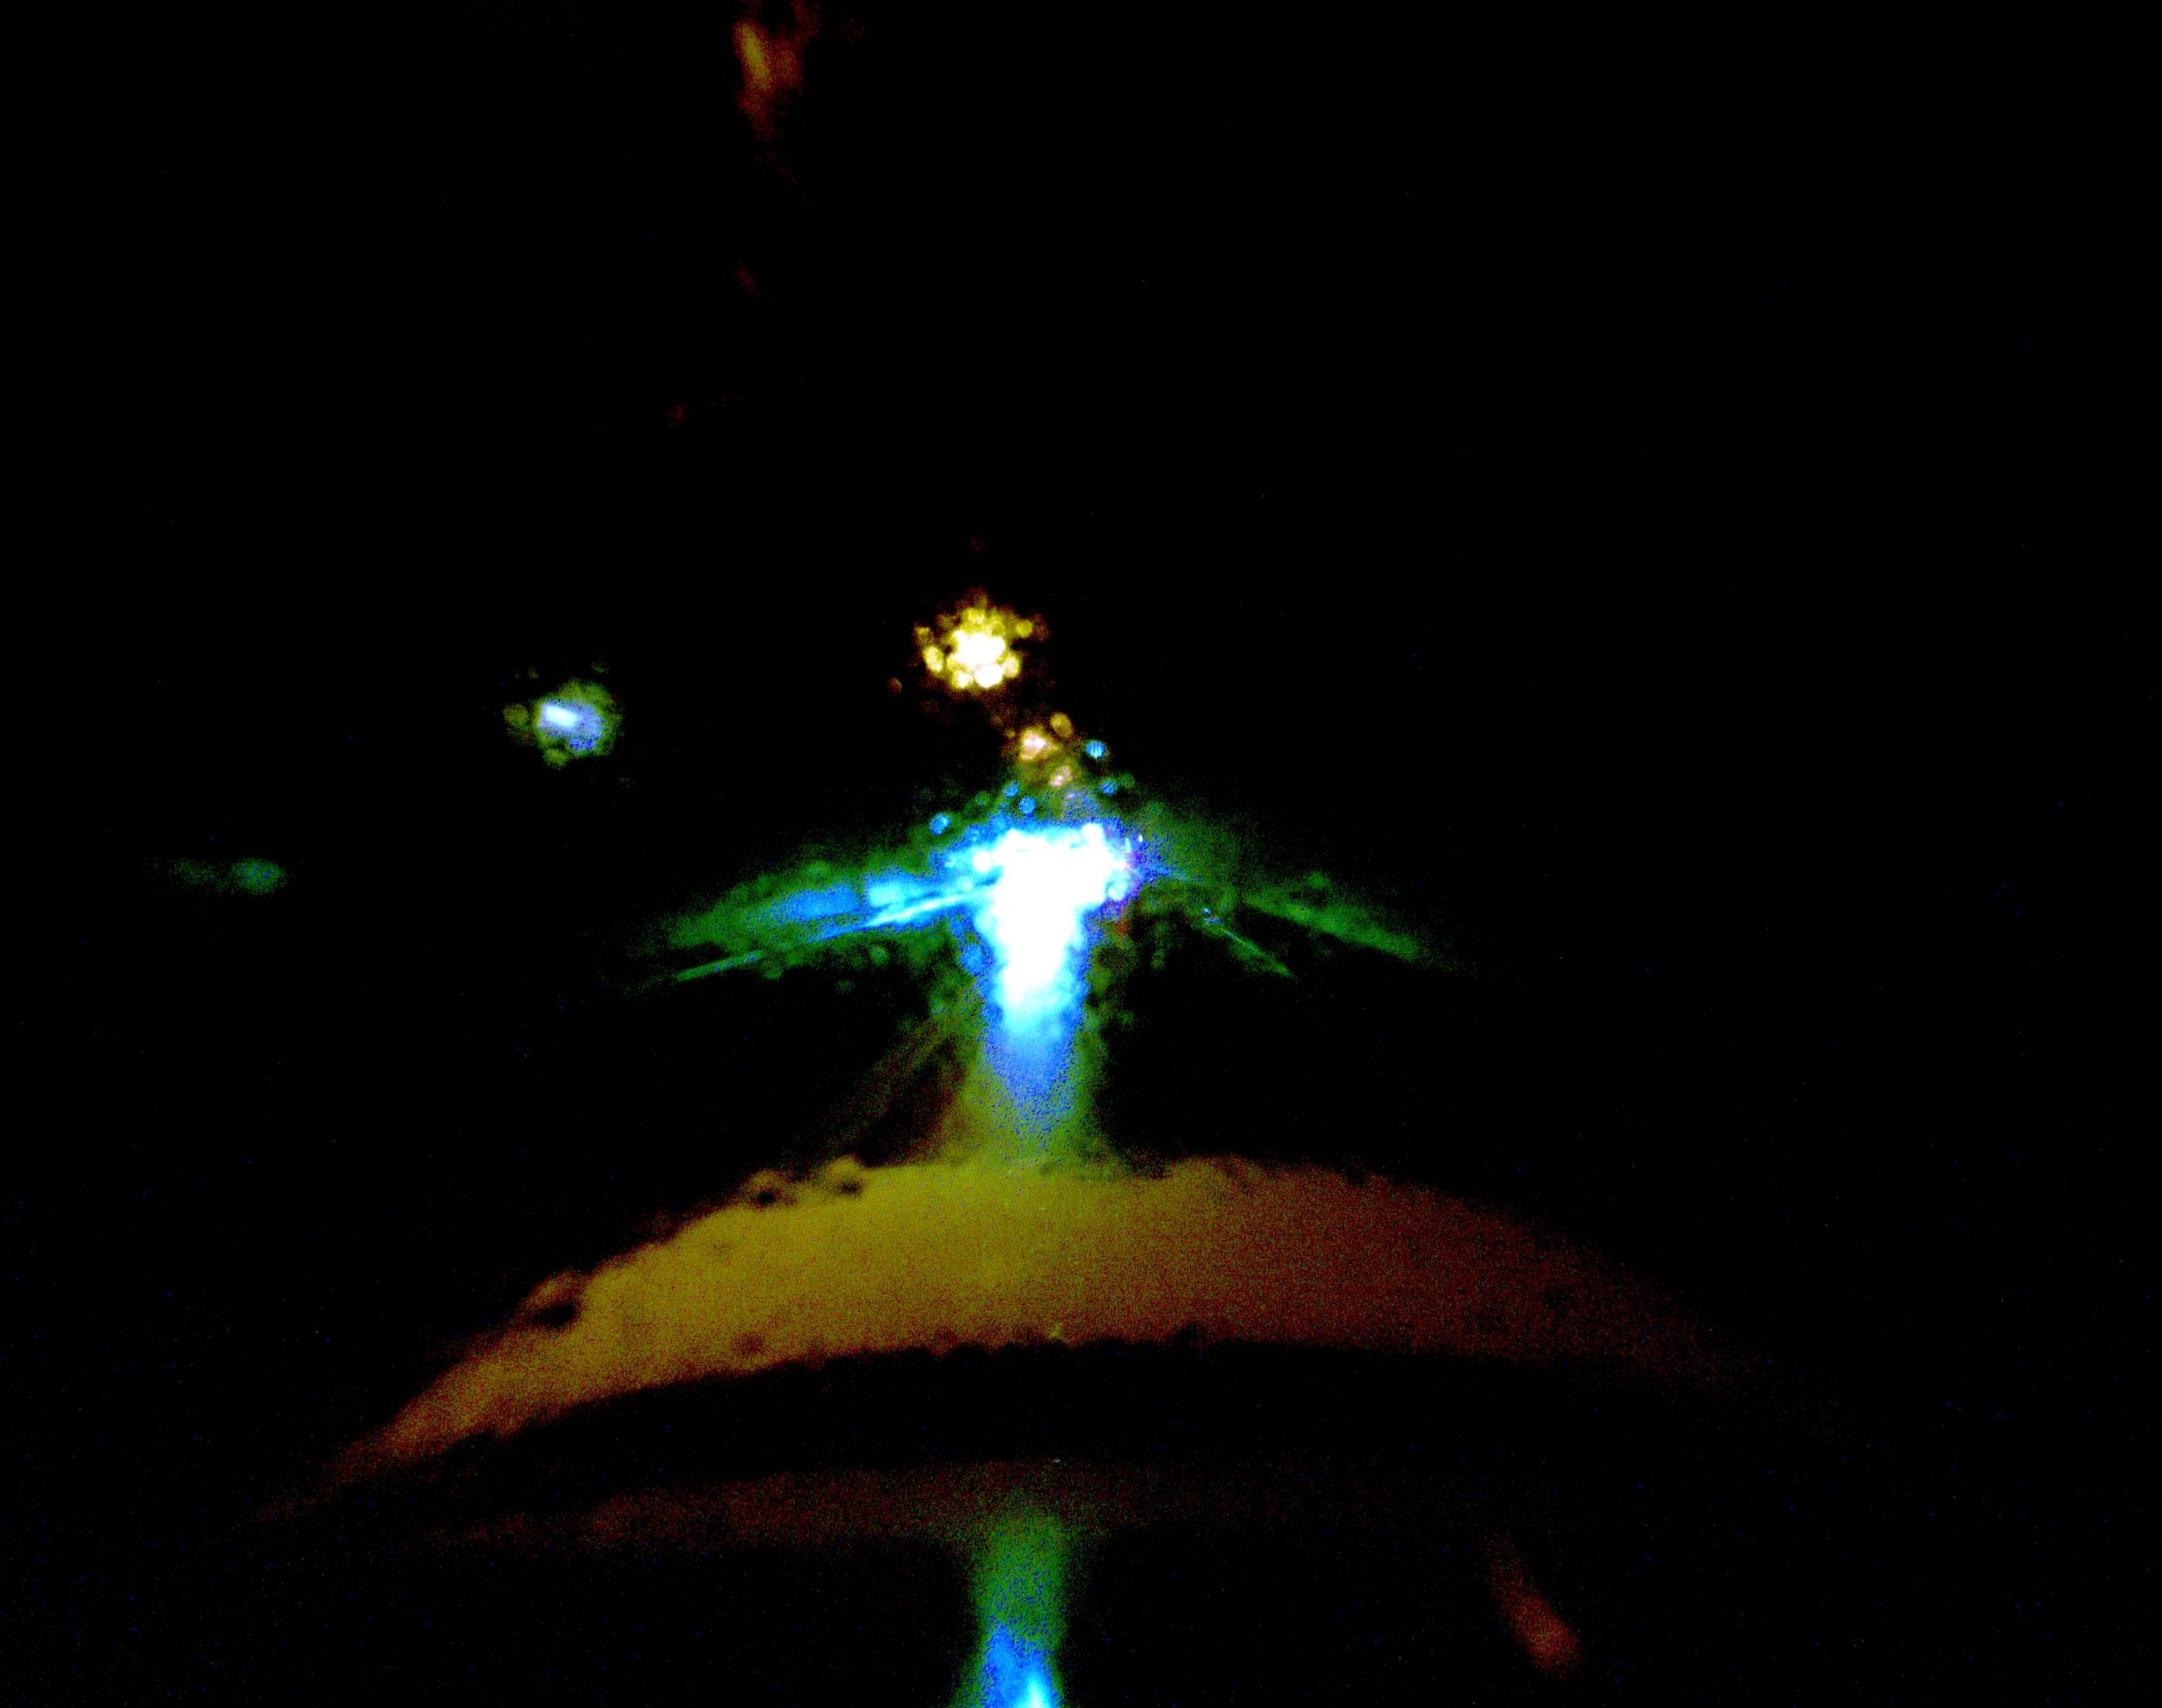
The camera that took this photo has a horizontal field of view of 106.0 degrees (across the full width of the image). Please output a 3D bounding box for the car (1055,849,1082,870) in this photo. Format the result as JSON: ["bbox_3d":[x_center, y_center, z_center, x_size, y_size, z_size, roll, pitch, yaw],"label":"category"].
[{"bbox_3d":[-1.020,0.471,67.647,1.986,1.651,4.002,-1,0,2],"label":"car"}]

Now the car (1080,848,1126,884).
[{"bbox_3d":[1.063,0.548,39.342,2.082,1.662,4.002,-1,0,2],"label":"car"}]

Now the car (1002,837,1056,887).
[{"bbox_3d":[-2.212,0.326,35.802,1.986,2.013,4.002,-1,0,2],"label":"car"}]

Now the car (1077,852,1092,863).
[{"bbox_3d":[0.414,0.411,95.428,1.545,1.244,4.002,-2,0,2],"label":"car"}]
